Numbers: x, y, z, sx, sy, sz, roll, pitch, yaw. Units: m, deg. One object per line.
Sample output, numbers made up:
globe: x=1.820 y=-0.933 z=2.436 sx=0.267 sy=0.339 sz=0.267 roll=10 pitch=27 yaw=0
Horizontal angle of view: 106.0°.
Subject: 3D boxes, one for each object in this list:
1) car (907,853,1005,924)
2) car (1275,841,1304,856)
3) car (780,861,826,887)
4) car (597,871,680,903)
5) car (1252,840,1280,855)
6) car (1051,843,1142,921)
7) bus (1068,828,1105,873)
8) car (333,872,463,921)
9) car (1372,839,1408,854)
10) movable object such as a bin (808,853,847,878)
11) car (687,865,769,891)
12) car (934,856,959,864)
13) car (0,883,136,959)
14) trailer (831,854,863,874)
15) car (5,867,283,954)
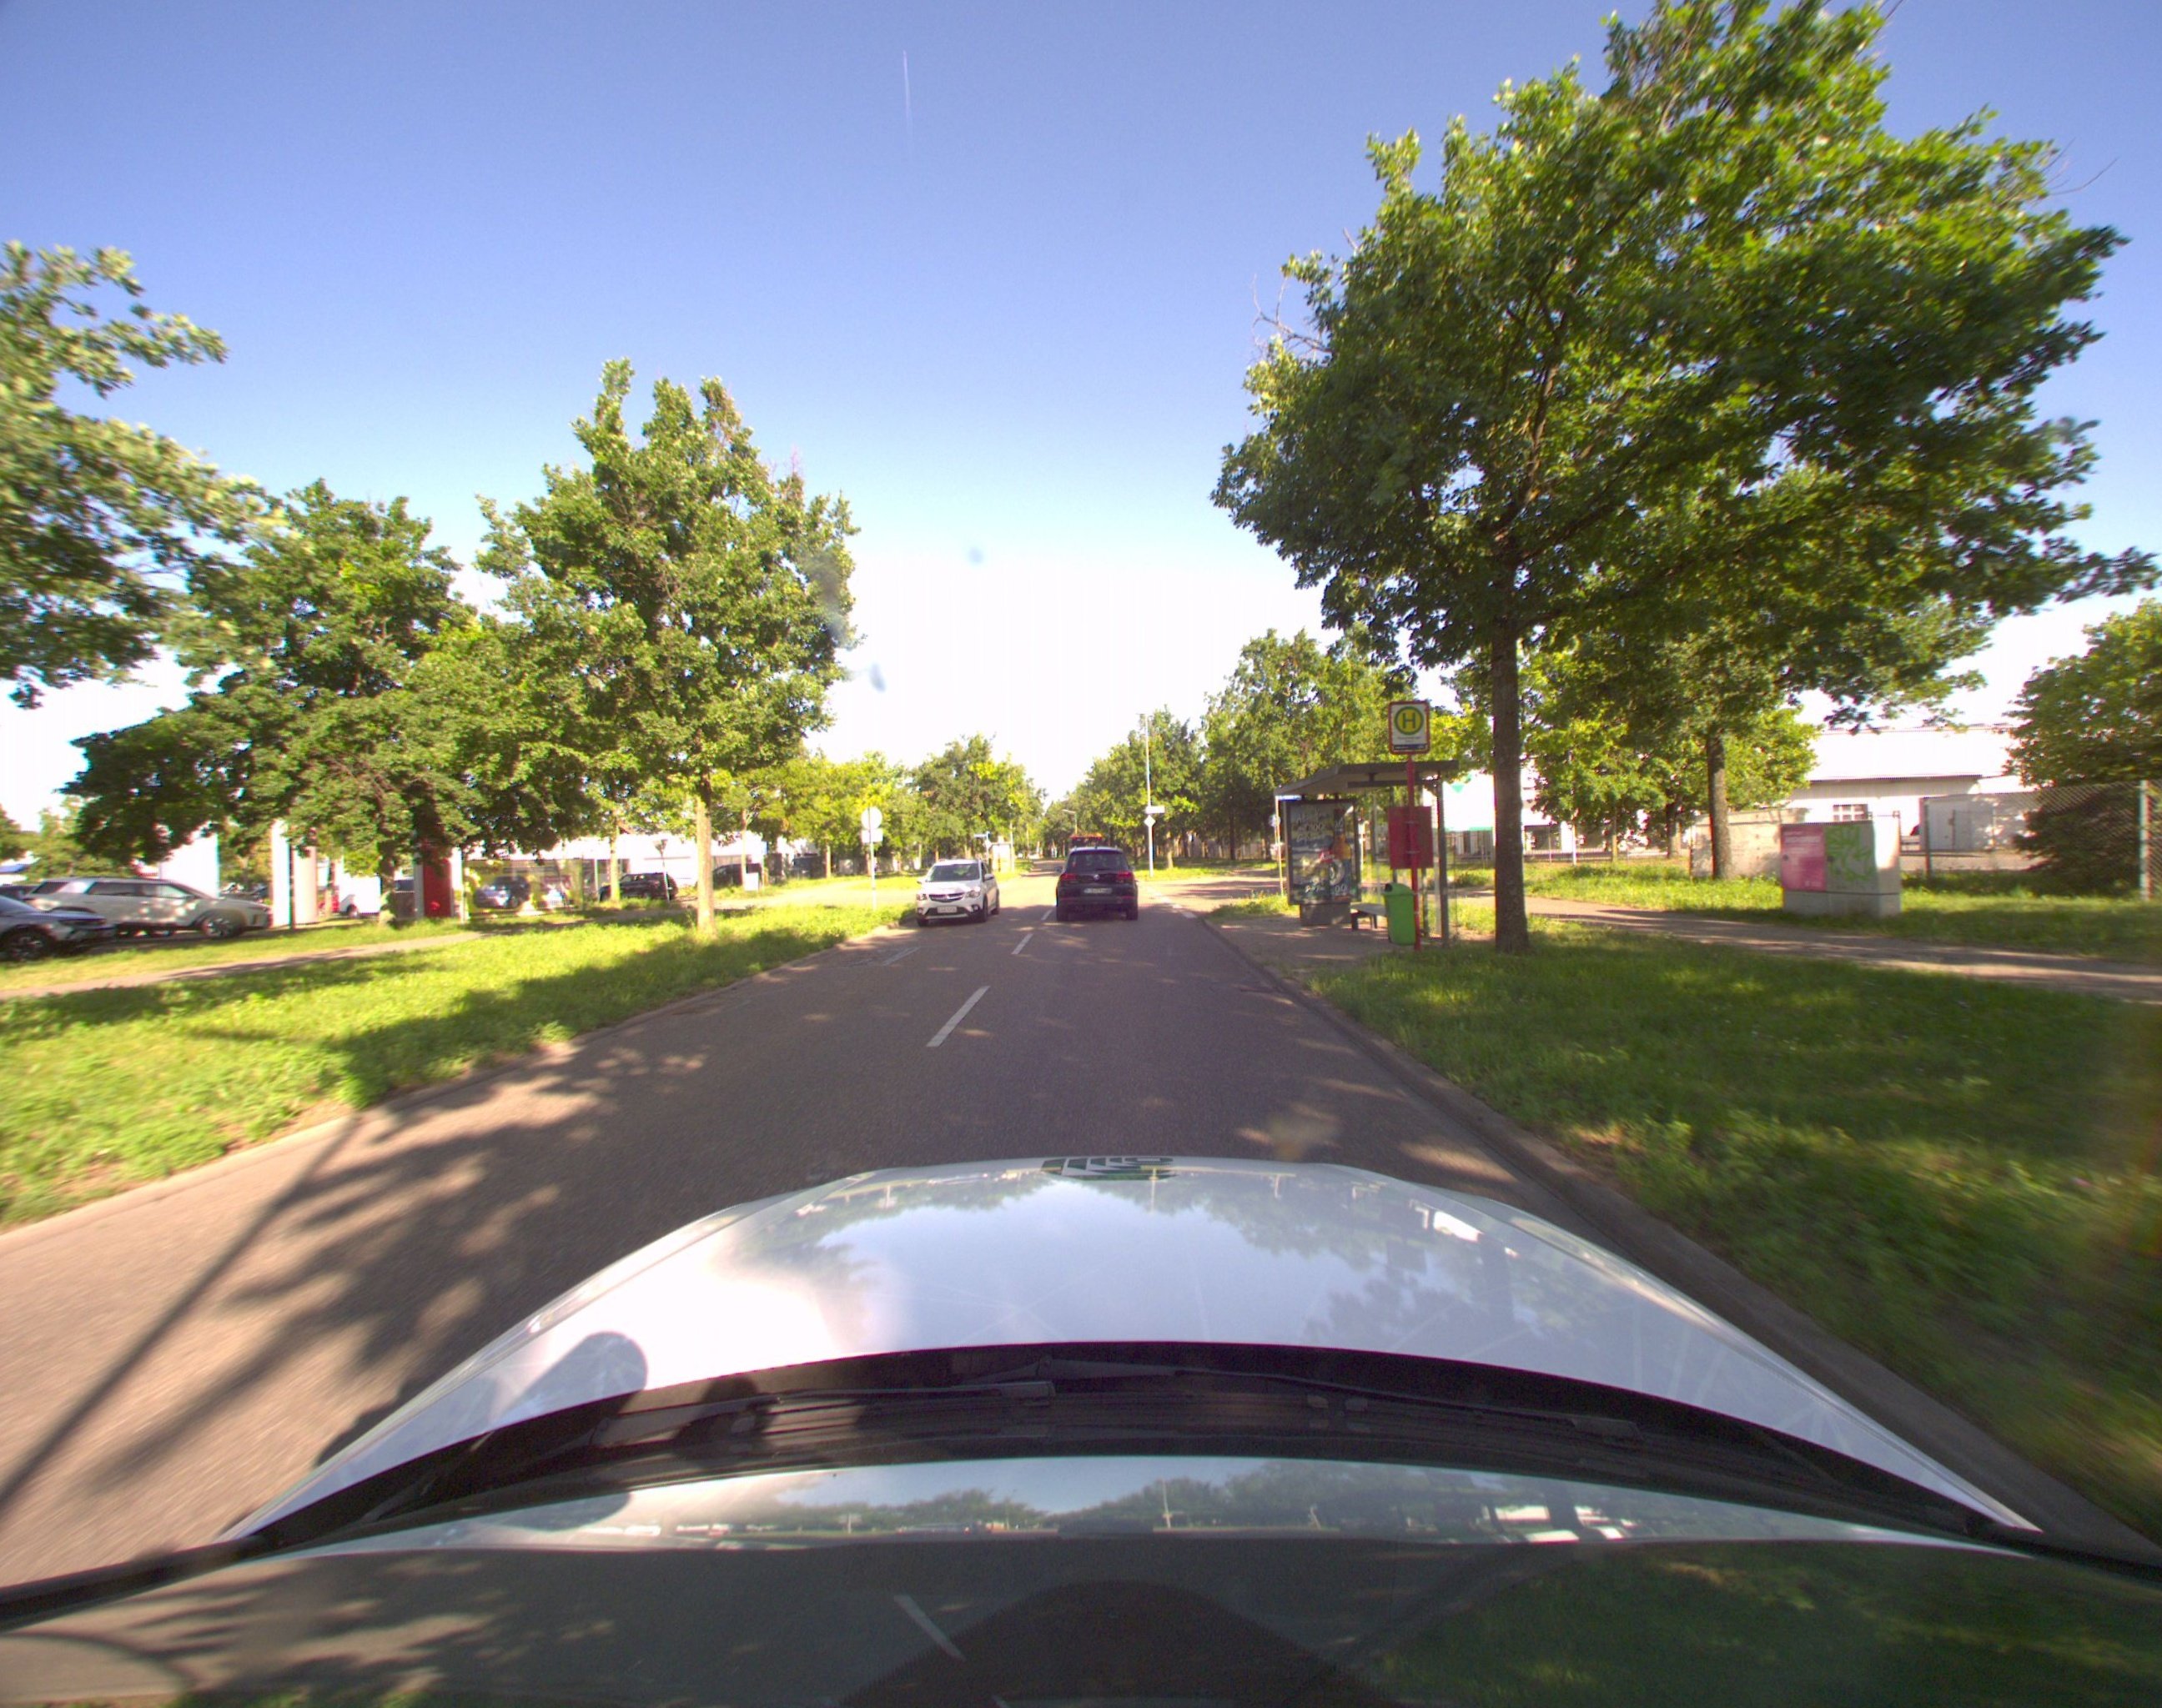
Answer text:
car: x=-3.010 y=0.775 z=20.508 sx=1.739 sy=1.465 sz=4.426 roll=-3 pitch=0 yaw=0
car: x=25.518 y=-0.638 z=99.831 sx=2.180 sy=1.744 sz=4.636 roll=-2 pitch=0 yaw=-3
car: x=-23.868 y=1.648 z=70.210 sx=2.030 sy=1.988 sz=5.803 roll=-2 pitch=0 yaw=-1
car: x=-23.966 y=1.776 z=44.159 sx=3.641 sy=1.532 sz=1.830 roll=-2 pitch=0 yaw=15
car: x=22.591 y=-0.774 z=99.639 sx=2.179 sy=1.744 sz=4.636 roll=-2 pitch=0 yaw=-3
car: x=0.408 y=0.575 z=19.600 sx=1.928 sy=1.656 sz=4.429 roll=-1 pitch=0 yaw=2
bus: x=0.356 y=-0.315 z=70.611 sx=2.756 sy=3.456 sz=11.205 roll=-2 pitch=0 yaw=-1
car: x=-30.077 y=1.863 z=35.873 sx=4.970 sy=1.906 sz=1.950 roll=-2 pitch=0 yaw=17
car: x=29.642 y=-0.692 z=78.224 sx=1.761 sy=1.383 sz=3.763 roll=-2 pitch=0 yaw=-3
movable object such as a bin: x=-23.730 y=1.040 z=76.418 sx=2.095 sy=2.217 sz=4.460 roll=-2 pitch=0 yaw=0
car: x=-23.269 y=1.546 z=53.846 sx=4.484 sy=1.479 sz=1.942 roll=-2 pitch=0 yaw=1
car: x=-24.935 y=1.088 z=150.657 sx=4.180 sy=1.321 sz=1.943 roll=-2 pitch=0 yaw=3
car: x=-24.792 y=1.555 z=18.289 sx=4.183 sy=1.562 sz=1.981 roll=-2 pitch=0 yaw=-30
trailer: x=-23.936 y=1.037 z=83.549 sx=2.095 sy=1.914 sz=3.740 roll=-2 pitch=0 yaw=0
car: x=-26.341 y=1.495 z=23.238 sx=4.884 sy=2.013 sz=1.976 roll=-2 pitch=0 yaw=-40
